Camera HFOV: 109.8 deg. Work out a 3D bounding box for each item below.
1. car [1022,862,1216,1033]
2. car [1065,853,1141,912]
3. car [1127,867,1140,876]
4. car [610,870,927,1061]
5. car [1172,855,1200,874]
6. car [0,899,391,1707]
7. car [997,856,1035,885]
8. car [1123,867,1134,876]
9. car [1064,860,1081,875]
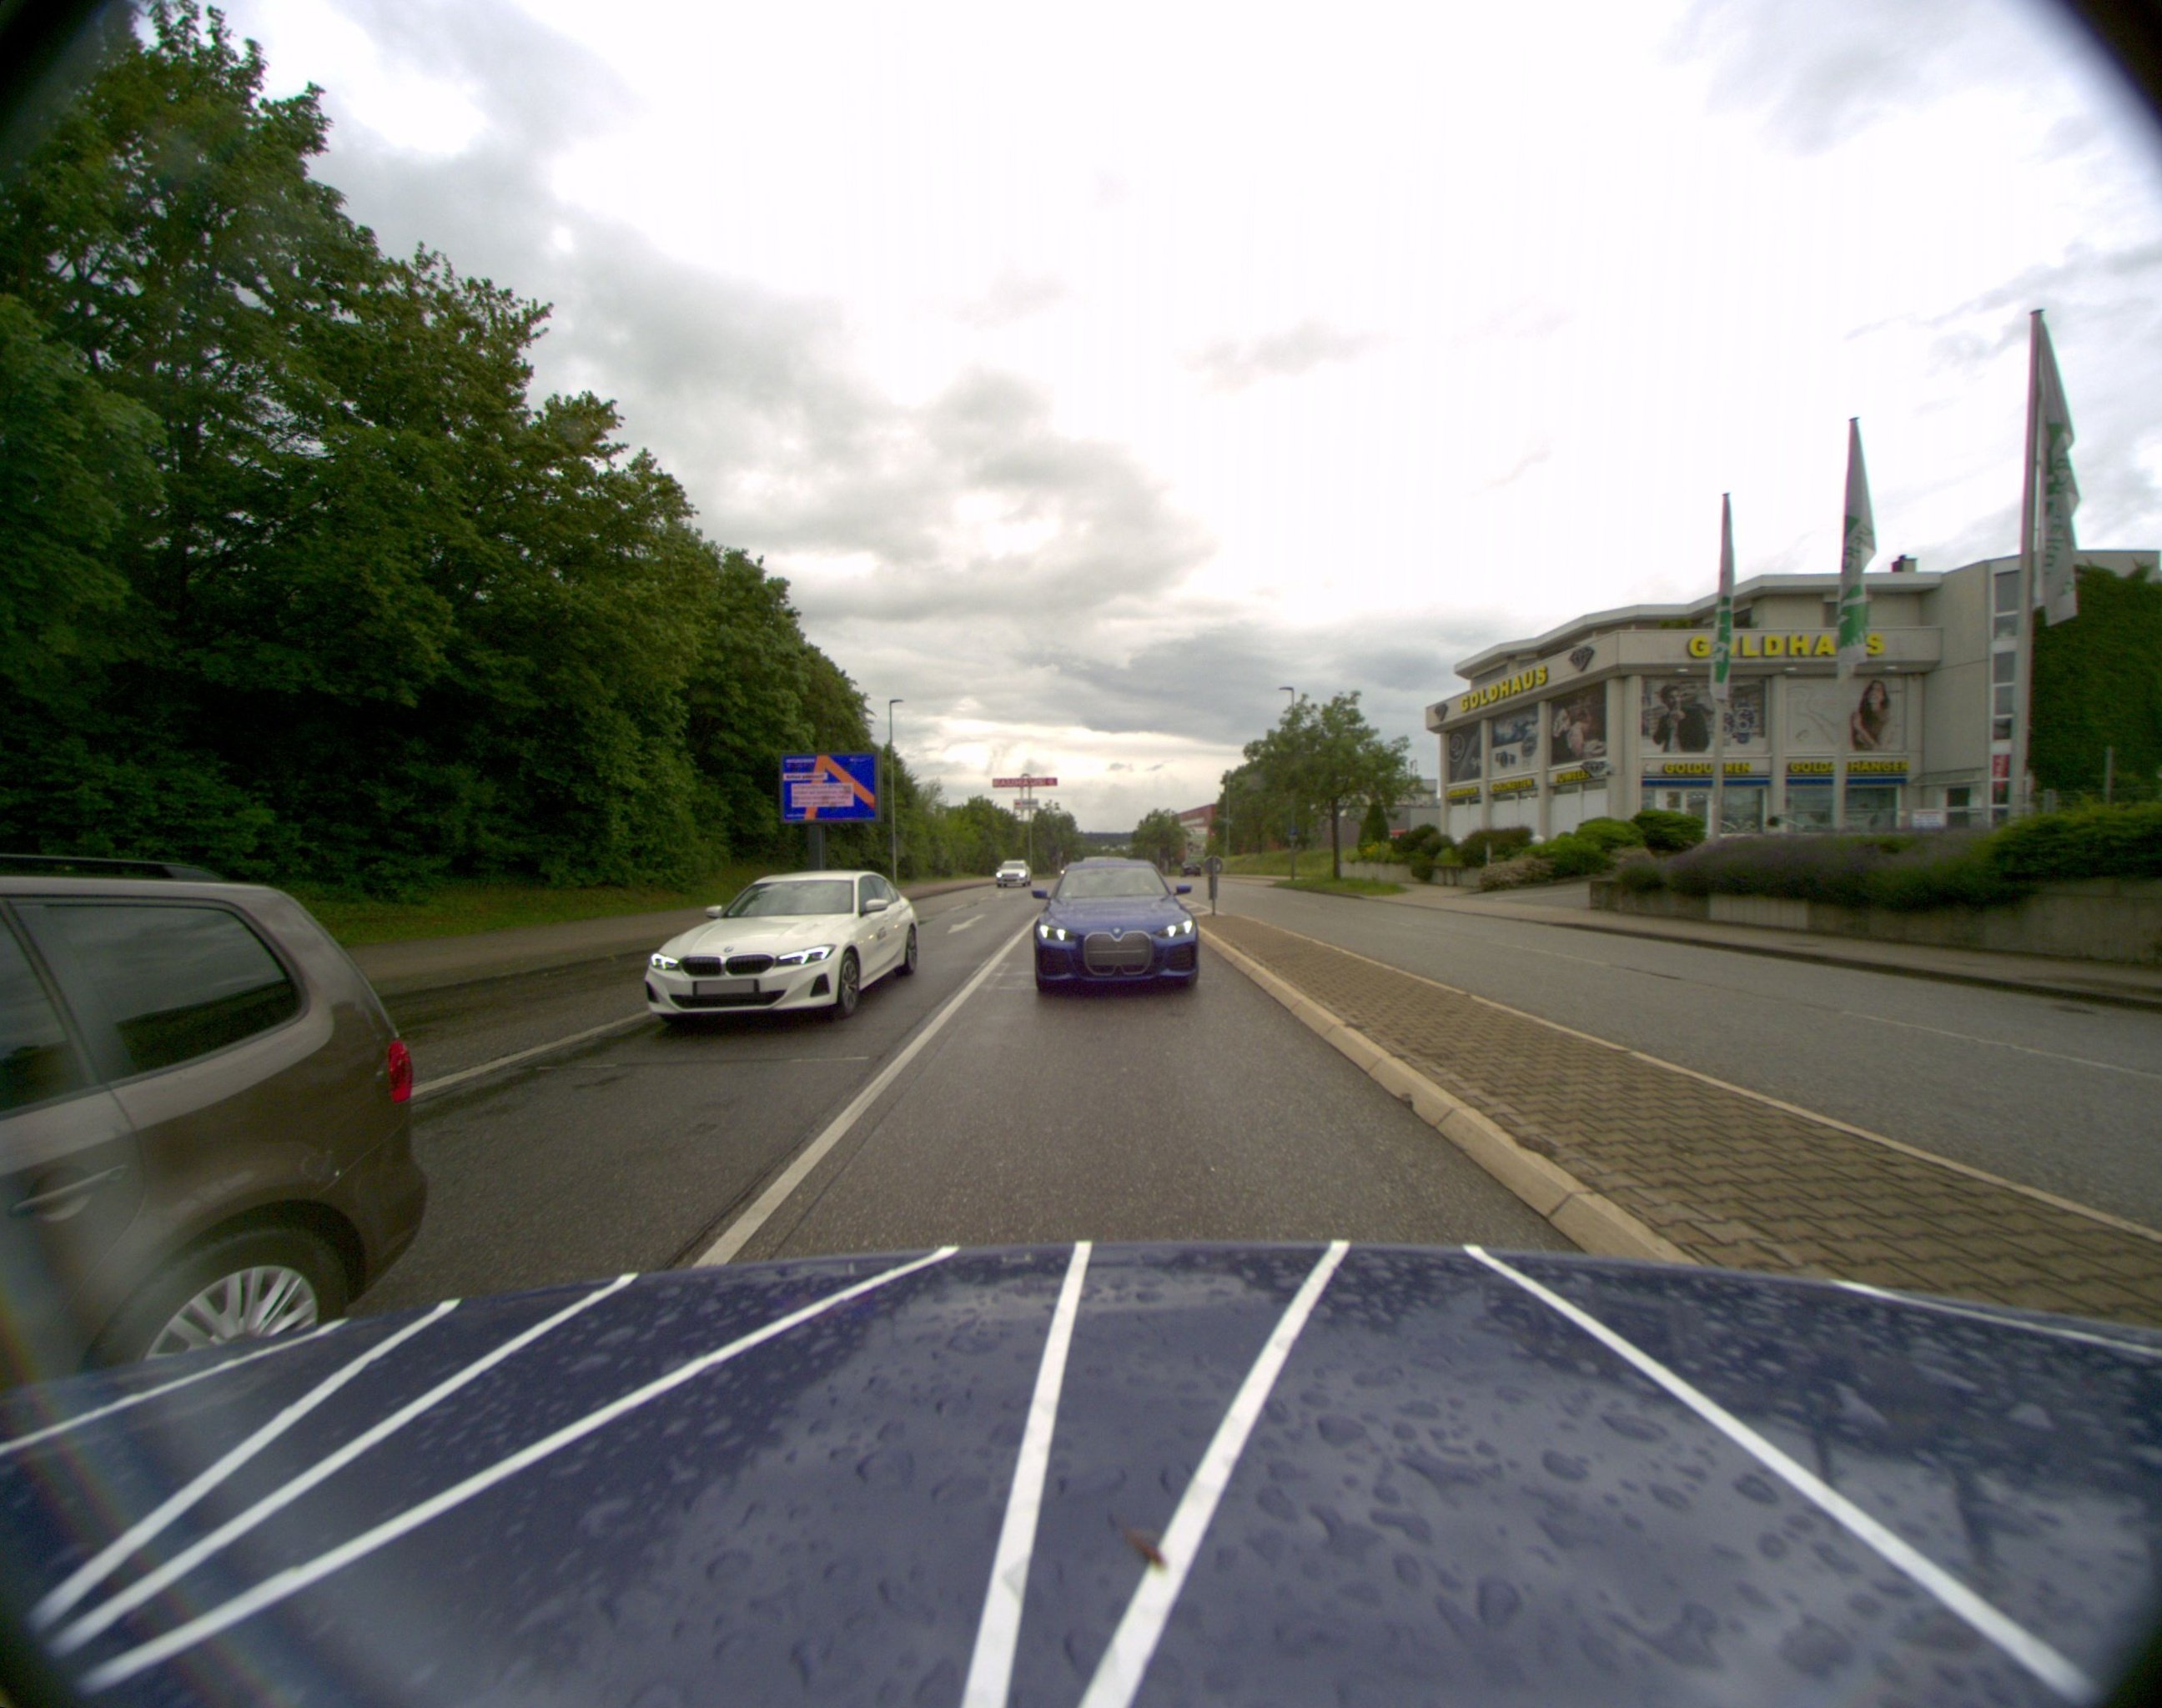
[{"bbox_3d":[0.331,0.906,9.475,1.784,1.448,4.596,-2,1,-1],"label":"car"},{"bbox_3d":[0.640,0.774,22.754,1.998,1.456,4.367,-2,1,1],"label":"car"},{"bbox_3d":[9.407,3.086,136.396,1.998,1.586,4.001,-1,-2,1],"label":"car"},{"bbox_3d":[-3.187,1.013,8.940,1.784,1.448,4.679,-2,1,-1],"label":"car"},{"bbox_3d":[11.012,1.118,79.712,2.350,1.879,4.546,-1,-2,1],"label":"car"},{"bbox_3d":[-3.018,0.990,0.295,1.751,1.600,3.980,-2,1,1],"label":"car"},{"bbox_3d":[-4.086,1.001,48.458,1.998,1.717,4.317,-1,0,1],"label":"car"},{"bbox_3d":[9.485,3.484,151.195,1.998,1.586,4.001,-1,-2,1],"label":"car"},{"bbox_3d":[-0.889,1.388,79.491,1.634,1.448,3.537,-2,1,-1],"label":"car"}]
